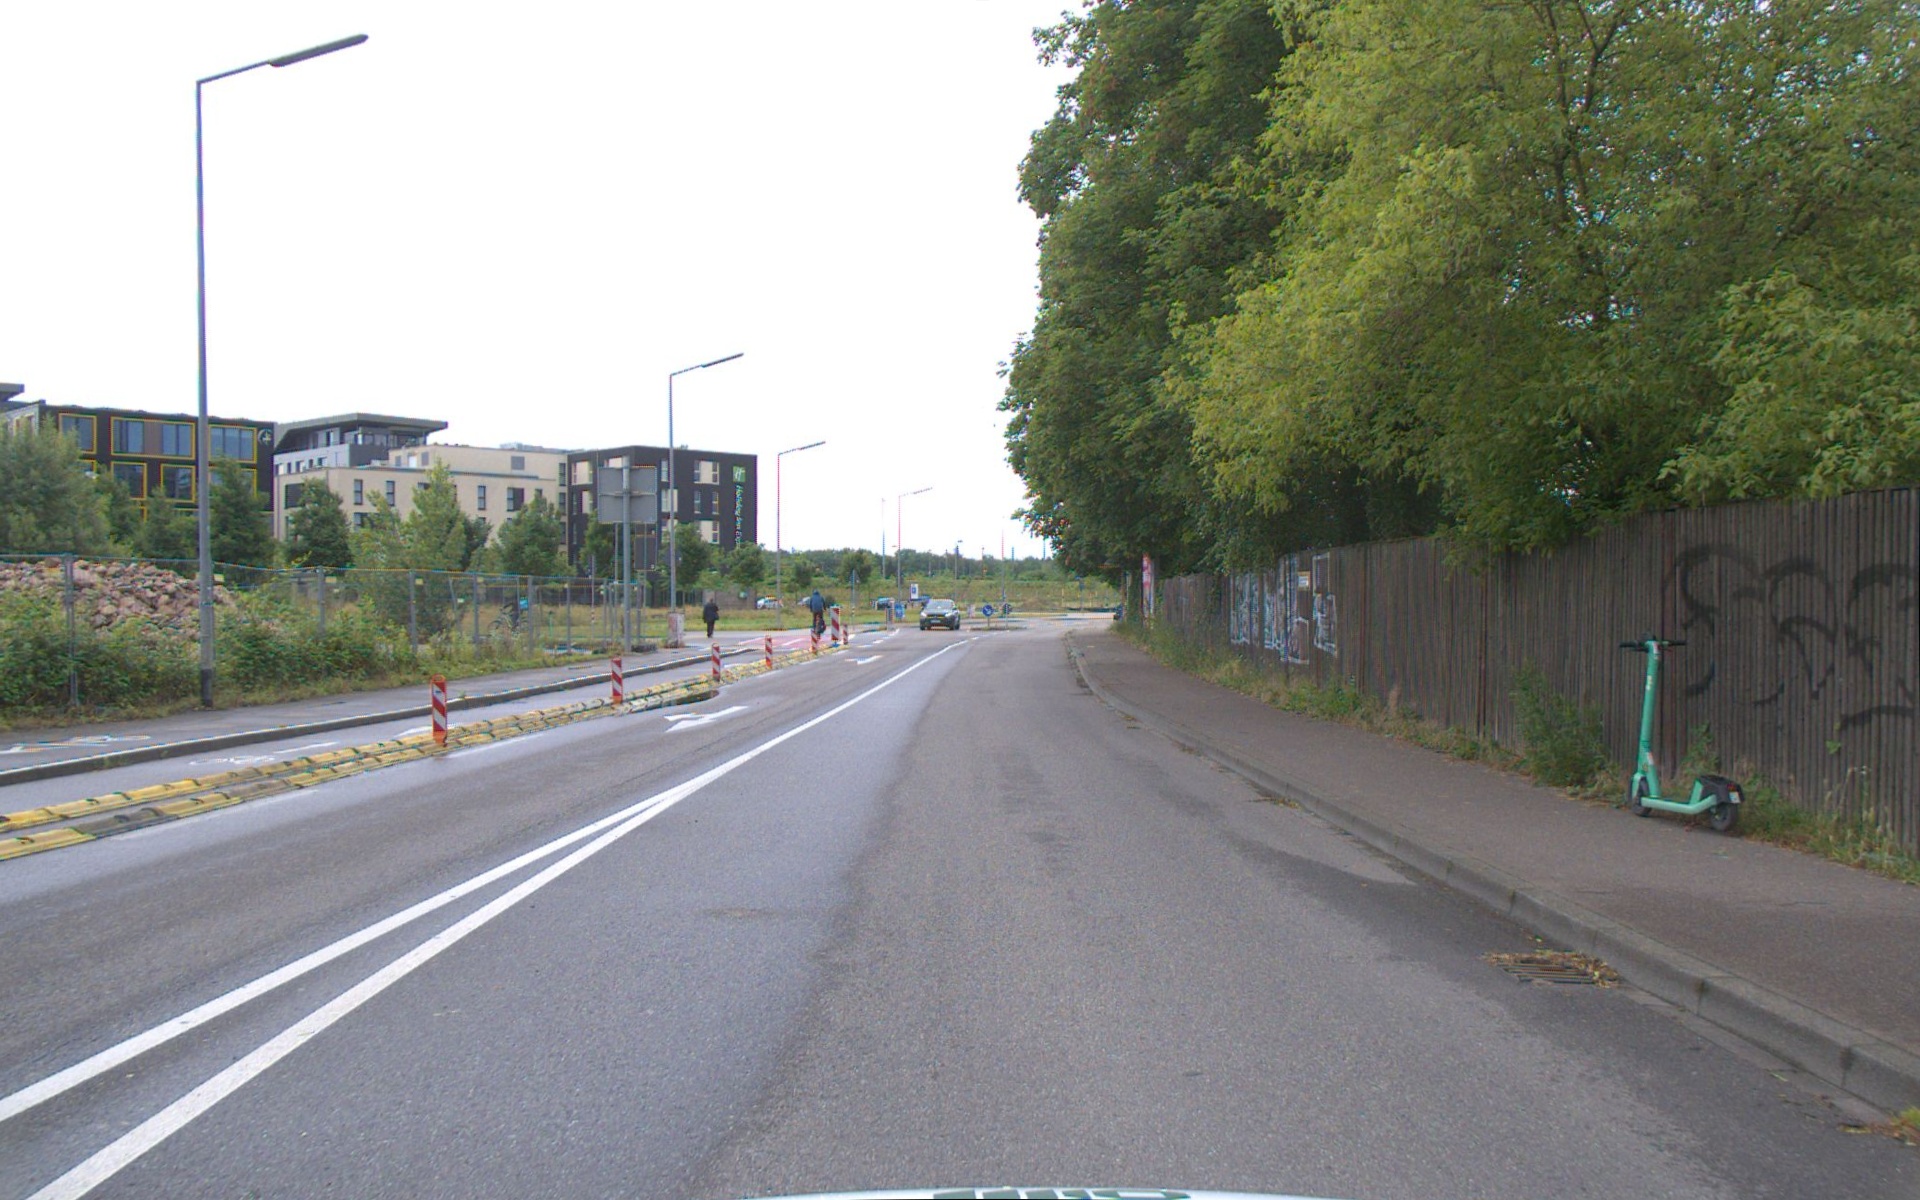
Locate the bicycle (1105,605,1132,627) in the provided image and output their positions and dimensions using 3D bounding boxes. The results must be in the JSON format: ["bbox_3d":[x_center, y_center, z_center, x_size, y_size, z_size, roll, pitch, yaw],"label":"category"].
[{"bbox_3d":[8.476,0.860,88.478,0.780,1.130,1.950,0,0,26],"label":"bicycle"}]

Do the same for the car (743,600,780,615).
[{"bbox_3d":[-22.873,0.862,190.307,1.960,1.544,4.137,0,1,37],"label":"car"}]

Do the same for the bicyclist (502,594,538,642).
[{"bbox_3d":[-18.151,0.745,68.281,1.373,1.932,1.074,-1,0,-12],"label":"bicyclist"}]

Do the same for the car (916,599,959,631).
[{"bbox_3d":[-1.162,0.796,88.190,1.841,1.594,4.361,0,1,5],"label":"car"}]

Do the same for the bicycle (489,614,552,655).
[{"bbox_3d":[-18.128,1.401,68.300,2.449,1.611,1.083,-1,1,-13],"label":"bicycle"}]

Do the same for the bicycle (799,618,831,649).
[{"bbox_3d":[-5.441,1.249,62.276,0.865,1.071,2.470,0,1,3],"label":"bicycle"}]

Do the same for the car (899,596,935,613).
[{"bbox_3d":[-4.863,0.540,187.841,1.985,1.854,3.935,-1,1,-44],"label":"car"}]

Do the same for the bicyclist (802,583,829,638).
[{"bbox_3d":[-5.445,0.377,62.291,0.843,2.049,1.178,0,0,3],"label":"bicyclist"}]

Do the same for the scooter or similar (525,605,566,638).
[{"bbox_3d":[-14.798,0.752,58.971,0.651,1.162,1.875,1,-1,-41],"label":"scooter or similar"}]

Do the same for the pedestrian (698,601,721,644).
[{"bbox_3d":[-10.740,0.970,70.958,0.826,1.814,1.077,0,0,-1],"label":"pedestrian"}]

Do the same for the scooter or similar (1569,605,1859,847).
[{"bbox_3d":[4.725,0.718,10.583,0.677,1.335,2.352,0,1,-3],"label":"scooter or similar"}]
